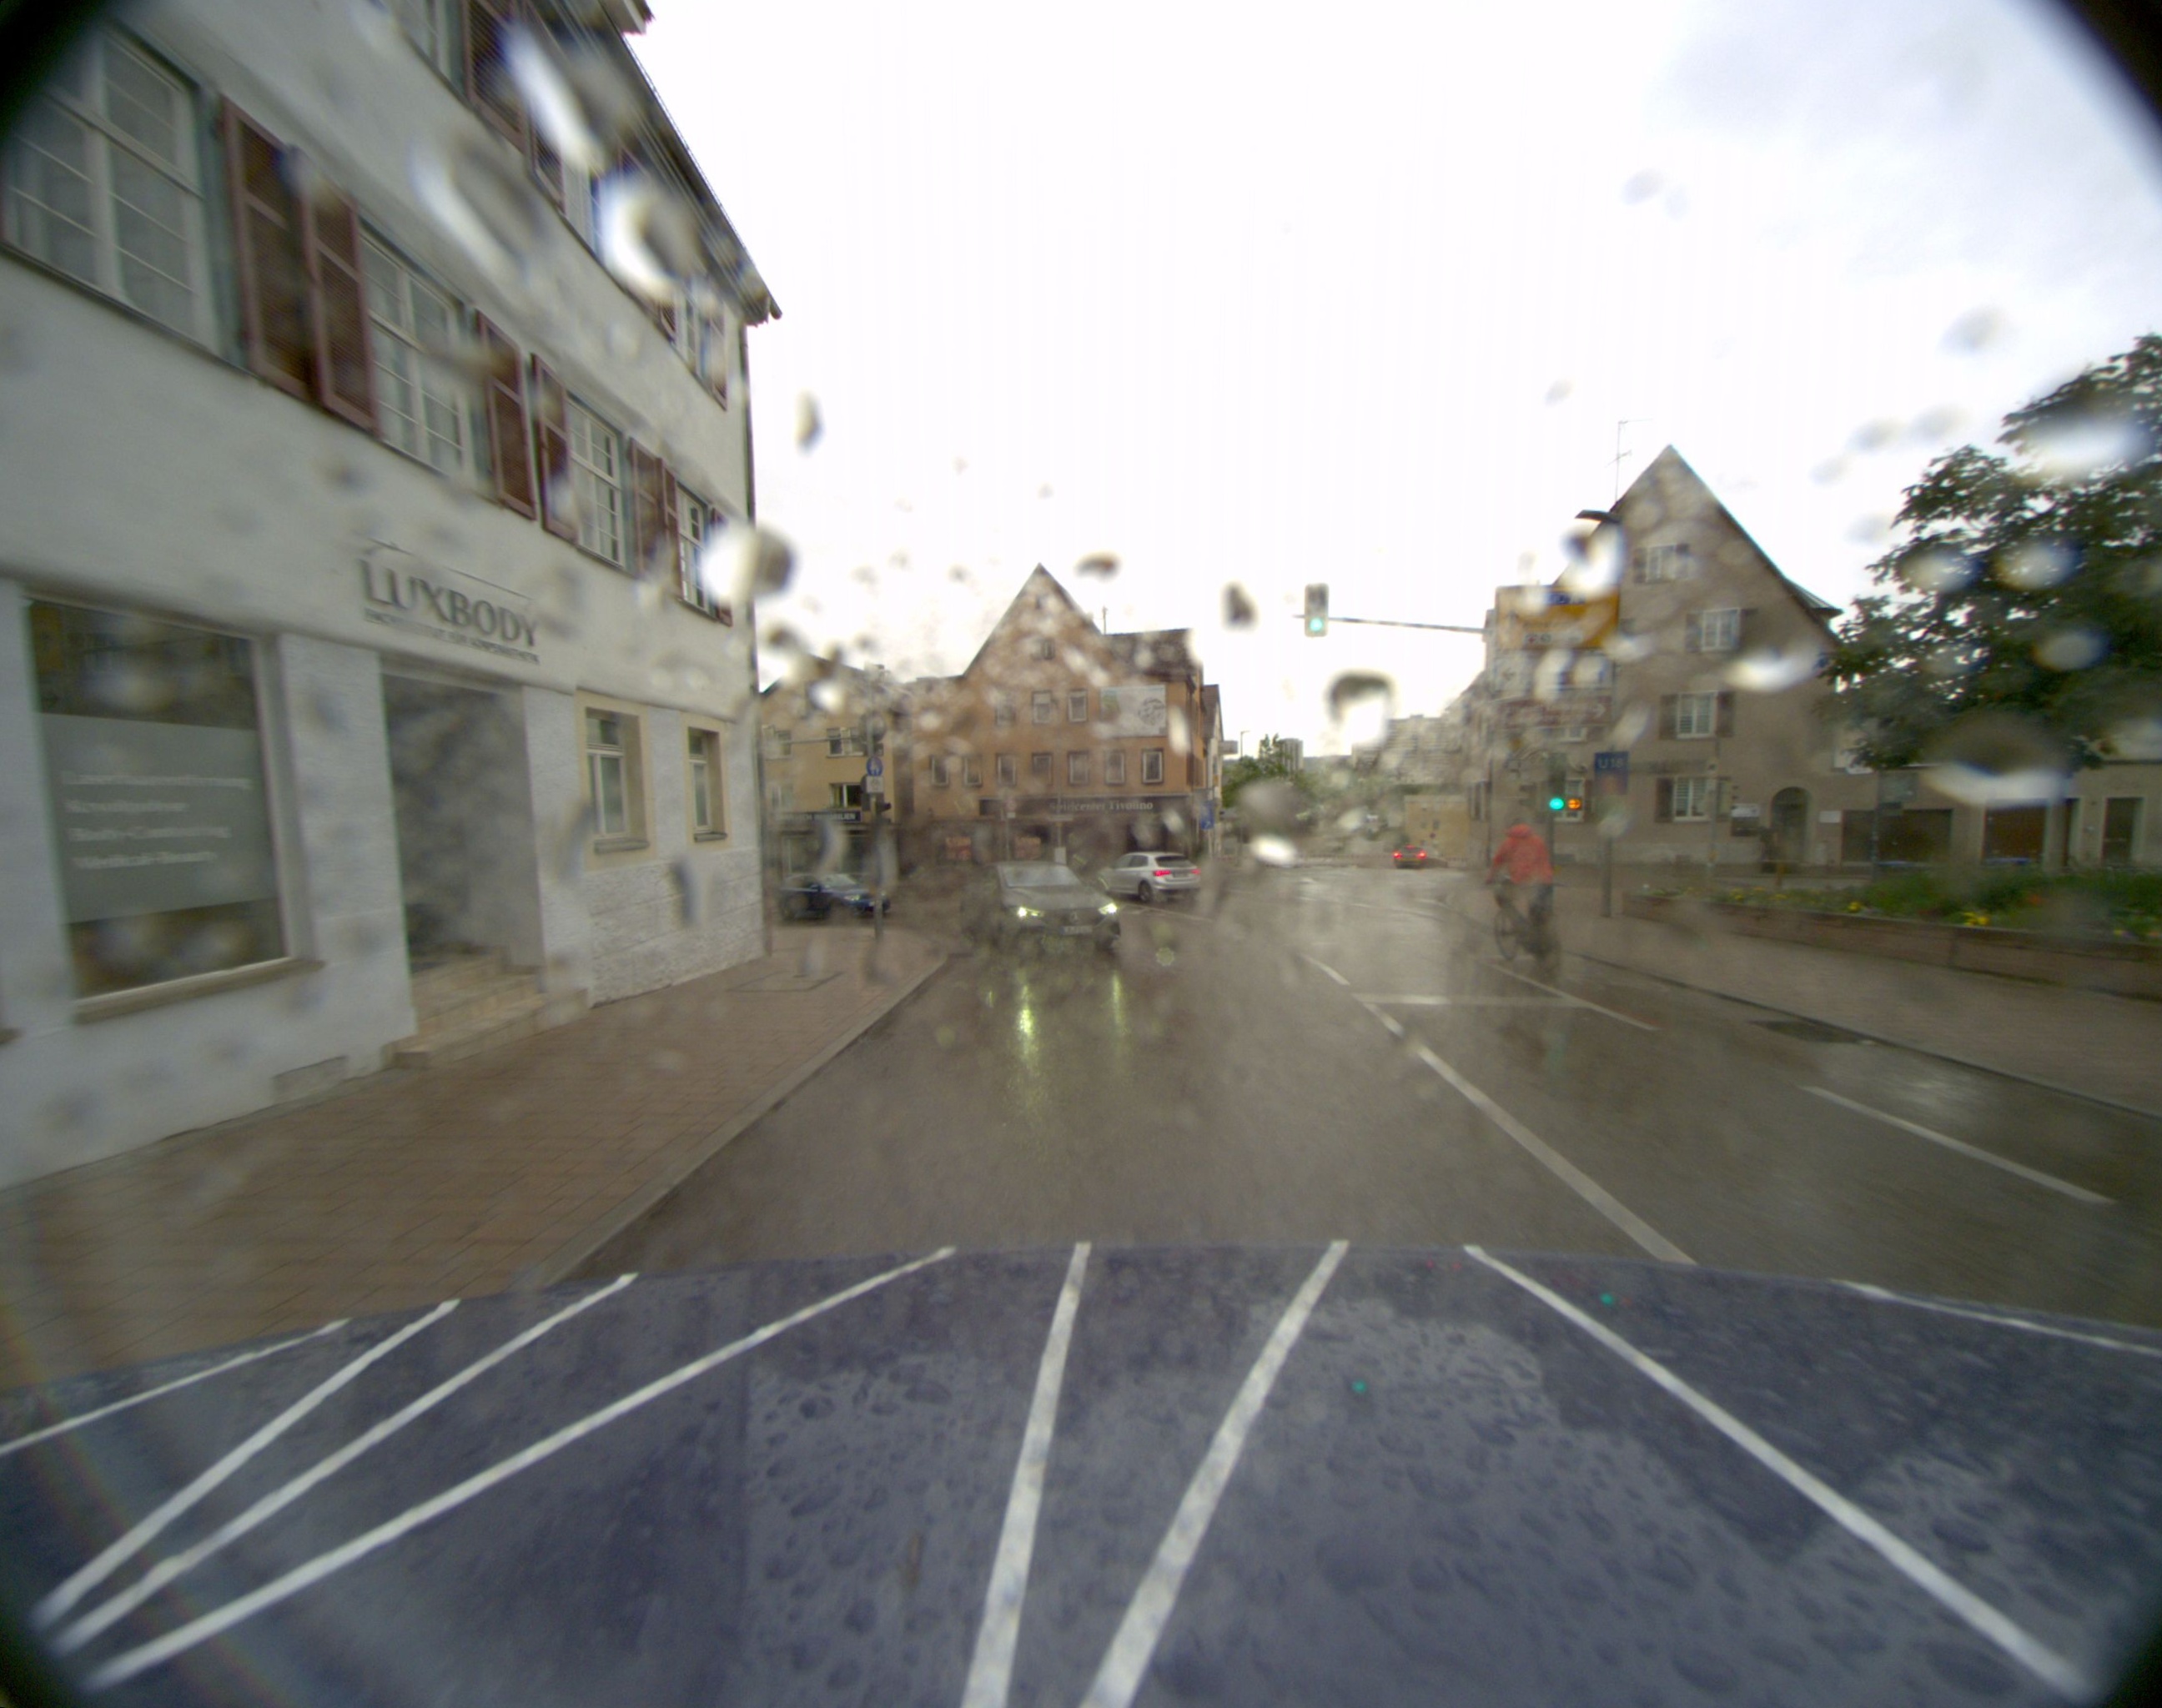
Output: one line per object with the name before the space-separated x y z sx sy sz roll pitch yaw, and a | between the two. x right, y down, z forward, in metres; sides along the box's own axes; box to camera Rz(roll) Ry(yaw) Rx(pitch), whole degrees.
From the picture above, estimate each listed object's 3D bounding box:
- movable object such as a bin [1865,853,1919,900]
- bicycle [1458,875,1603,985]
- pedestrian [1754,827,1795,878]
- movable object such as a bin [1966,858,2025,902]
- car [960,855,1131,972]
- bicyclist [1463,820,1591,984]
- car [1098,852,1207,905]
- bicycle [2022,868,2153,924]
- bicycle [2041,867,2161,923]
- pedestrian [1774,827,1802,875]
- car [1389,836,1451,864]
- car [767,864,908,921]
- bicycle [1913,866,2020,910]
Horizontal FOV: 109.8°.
movable object such as a bin | 19.446 0.533 18.226 0.728 0.920 0.785 18 -8 -39
bicycle | 5.748 0.916 9.889 0.749 1.156 2.157 -1 2 5
pedestrian | 25.431 -0.053 27.882 0.714 1.820 0.798 -2 1 -1
movable object such as a bin | 20.493 0.577 17.042 0.584 0.897 0.588 -3 4 -2
car | -0.836 0.885 13.673 2.001 1.485 4.305 -4 3 -17
bicyclist | 5.686 0.589 9.759 1.138 2.002 0.880 0 1 6
car | 2.088 0.678 23.286 1.669 1.419 3.862 -1 1 -24
bicycle | 19.164 0.768 14.506 0.393 0.907 1.467 -6 4 -15
bicycle | 19.608 0.755 14.562 0.393 0.907 1.467 -6 4 -15
pedestrian | 26.268 -0.112 28.241 0.536 1.720 0.556 1 6 23
car | 19.355 -0.260 43.287 1.994 1.530 4.423 1 1 41
car | -7.662 1.204 23.809 4.366 1.524 1.777 -3 2 34
bicycle | 18.839 0.704 16.198 0.338 0.814 1.434 -7 4 -24
